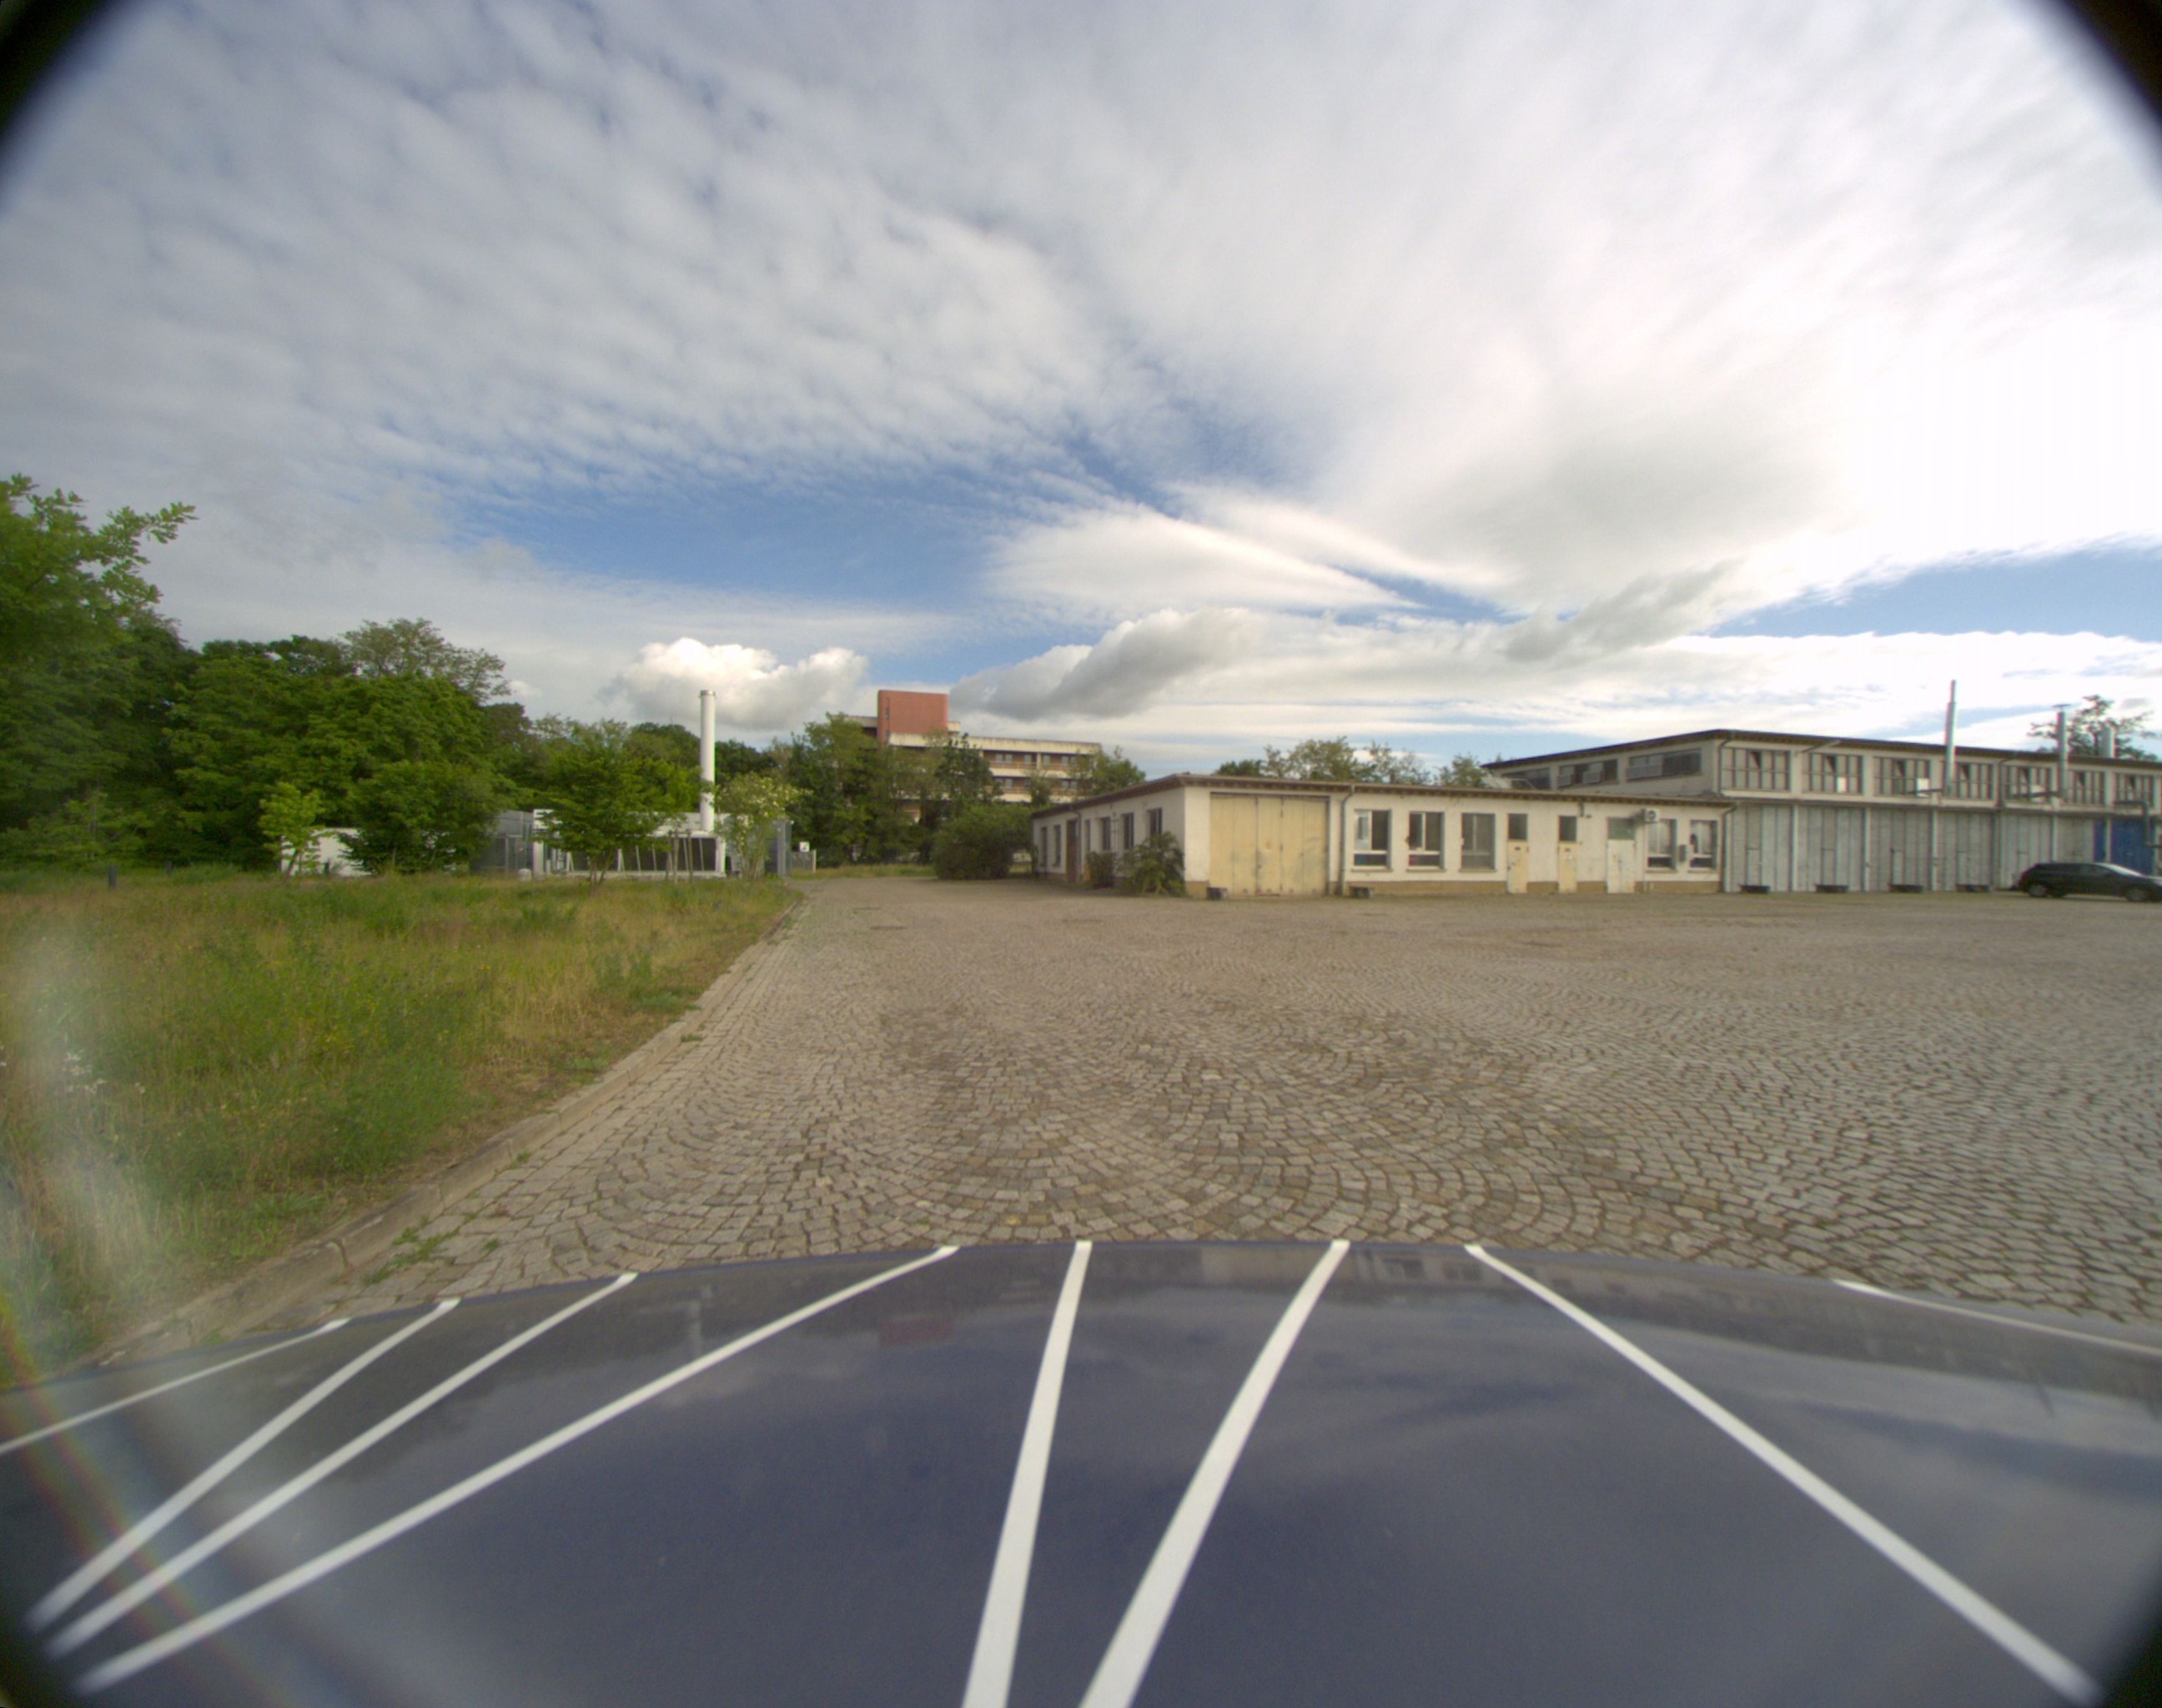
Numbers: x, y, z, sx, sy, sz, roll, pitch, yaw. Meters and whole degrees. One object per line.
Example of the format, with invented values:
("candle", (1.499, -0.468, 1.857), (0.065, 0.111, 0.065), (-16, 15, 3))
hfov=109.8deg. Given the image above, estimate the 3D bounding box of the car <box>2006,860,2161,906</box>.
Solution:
("car", (43.402, 1.206, 32.469), (2.002, 1.746, 4.429), (3, -1, -17))
